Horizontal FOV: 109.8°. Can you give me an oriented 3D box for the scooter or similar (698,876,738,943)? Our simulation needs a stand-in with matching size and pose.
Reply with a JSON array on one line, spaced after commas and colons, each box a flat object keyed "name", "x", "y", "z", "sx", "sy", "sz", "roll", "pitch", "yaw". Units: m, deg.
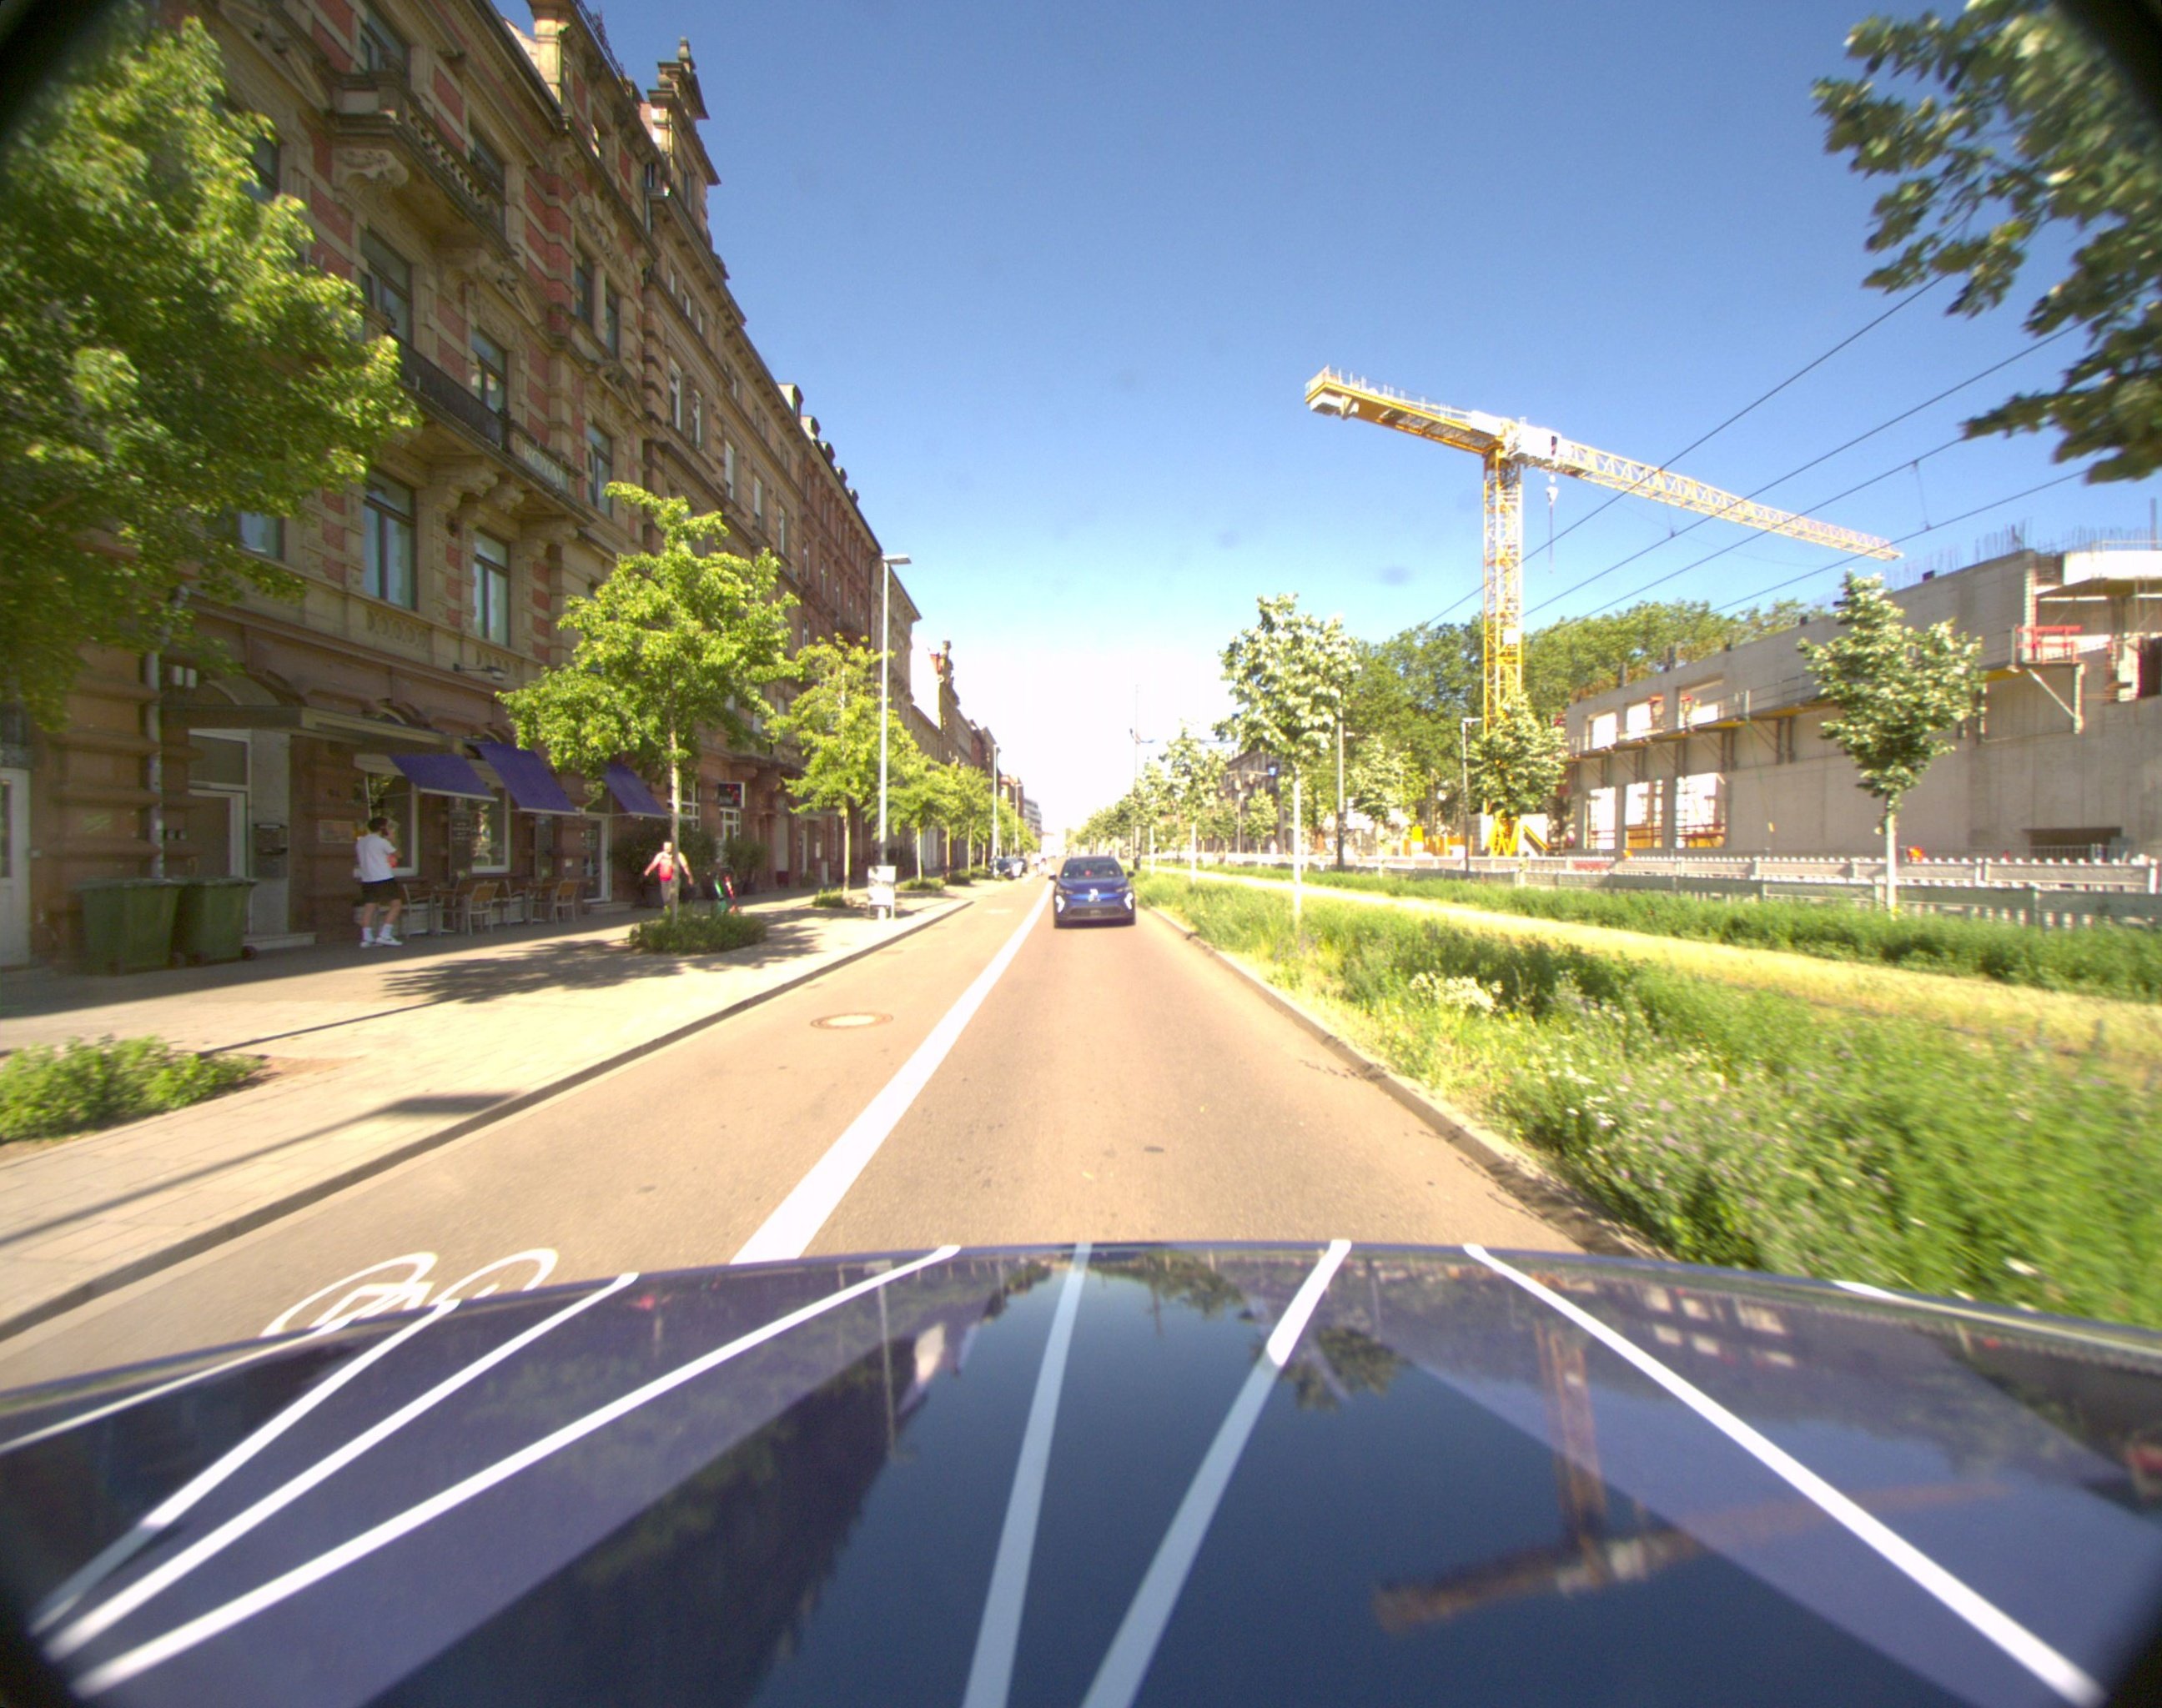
[{"name": "scooter or similar", "x": -6.595, "y": 0.995, "z": 13.789, "sx": 0.636, "sy": 1.166, "sz": 0.290, "roll": 0, "pitch": 1, "yaw": 22}]

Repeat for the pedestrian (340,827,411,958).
[{"name": "pedestrian", "x": -10.107, "y": 0.540, "z": 10.898, "sx": 0.512, "sy": 1.839, "sz": 0.501, "roll": 0, "pitch": 1, "yaw": 8}]

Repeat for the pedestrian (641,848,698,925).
[{"name": "pedestrian", "x": -8.792, "y": 0.680, "z": 16.261, "sx": 0.753, "sy": 1.575, "sz": 0.808, "roll": 2, "pitch": 1, "yaw": 0}]

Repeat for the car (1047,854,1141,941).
[{"name": "car", "x": 0.274, "y": 0.861, "z": 16.920, "sx": 1.749, "sy": 1.613, "sz": 4.153, "roll": -3, "pitch": 0, "yaw": 0}]

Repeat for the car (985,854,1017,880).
[{"name": "car", "x": -5.371, "y": 0.844, "z": 51.334, "sx": 1.669, "sy": 1.574, "sz": 3.748, "roll": -2, "pitch": 1, "yaw": 0}]

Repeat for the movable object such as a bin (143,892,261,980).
[{"name": "movable object such as a bin", "x": -10.465, "y": 0.961, "z": 9.063, "sx": 0.692, "sy": 0.969, "sz": 0.587, "roll": -1, "pitch": 1, "yaw": 5}]

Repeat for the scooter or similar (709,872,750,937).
[{"name": "scooter or similar", "x": -6.693, "y": 0.948, "z": 14.481, "sx": 0.672, "sy": 1.213, "sz": 0.328, "roll": 0, "pitch": 1, "yaw": 22}]

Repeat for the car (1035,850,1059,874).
[{"name": "car", "x": -2.753, "y": 0.600, "z": 61.810, "sx": 1.669, "sy": 1.787, "sz": 3.748, "roll": -2, "pitch": 1, "yaw": 0}]

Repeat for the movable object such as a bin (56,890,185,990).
[{"name": "movable object such as a bin", "x": -10.527, "y": 0.922, "z": 8.348, "sx": 0.692, "sy": 1.007, "sz": 0.587, "roll": 2, "pitch": 2, "yaw": 5}]

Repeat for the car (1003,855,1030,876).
[{"name": "car", "x": -4.880, "y": 0.854, "z": 57.723, "sx": 1.669, "sy": 1.453, "sz": 3.748, "roll": -2, "pitch": 1, "yaw": 0}]
